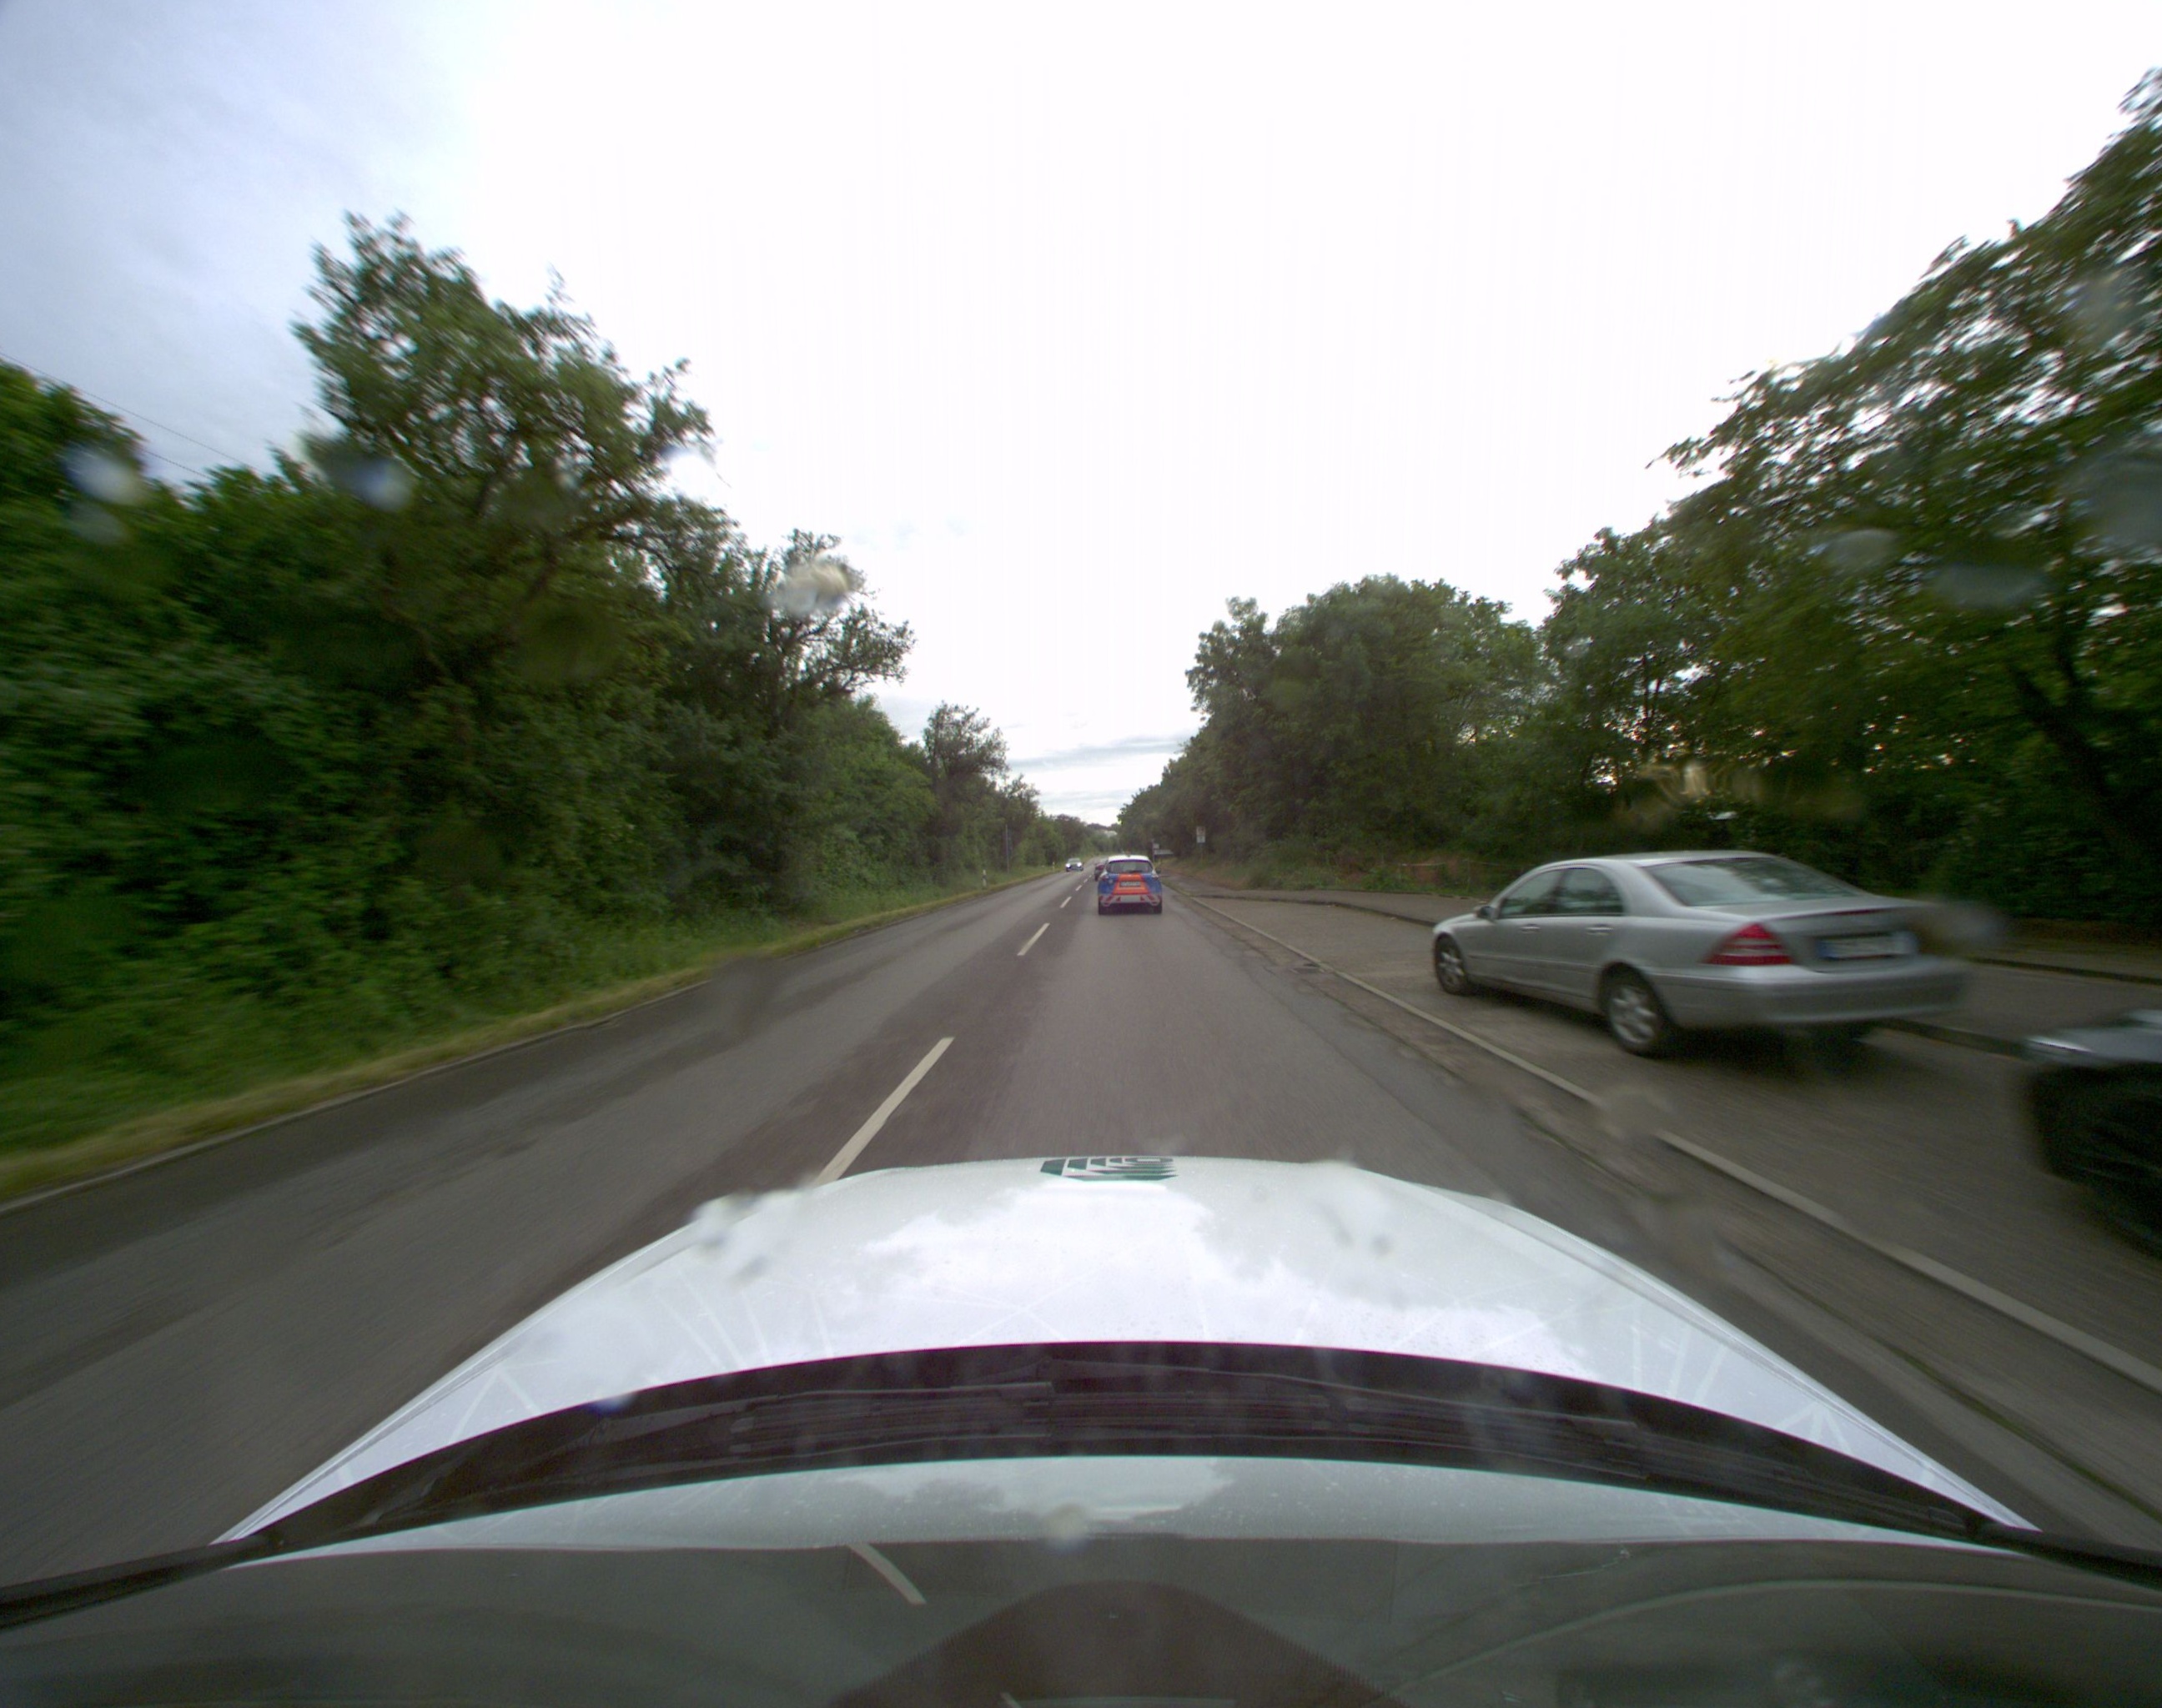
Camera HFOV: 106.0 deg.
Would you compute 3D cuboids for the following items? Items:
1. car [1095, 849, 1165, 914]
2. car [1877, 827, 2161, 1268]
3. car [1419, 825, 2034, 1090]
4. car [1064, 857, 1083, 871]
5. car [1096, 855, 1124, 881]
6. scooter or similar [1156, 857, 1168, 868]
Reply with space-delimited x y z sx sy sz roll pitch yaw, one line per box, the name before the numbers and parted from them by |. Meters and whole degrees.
car | 1.317 0.727 22.899 1.799 1.668 3.857 0 -1 2
car | 4.643 0.641 1.491 1.799 1.510 4.669 -4 -1 2
car | 4.773 0.641 7.000 1.740 1.468 4.216 -4 -1 -3
car | -0.834 1.131 92.843 1.864 1.489 4.575 -5 -1 2
car | 1.825 0.863 51.557 1.687 1.595 3.857 0 -1 2
scooter or similar | 9.613 1.014 96.540 1.310 1.206 0.376 -3 -1 42
